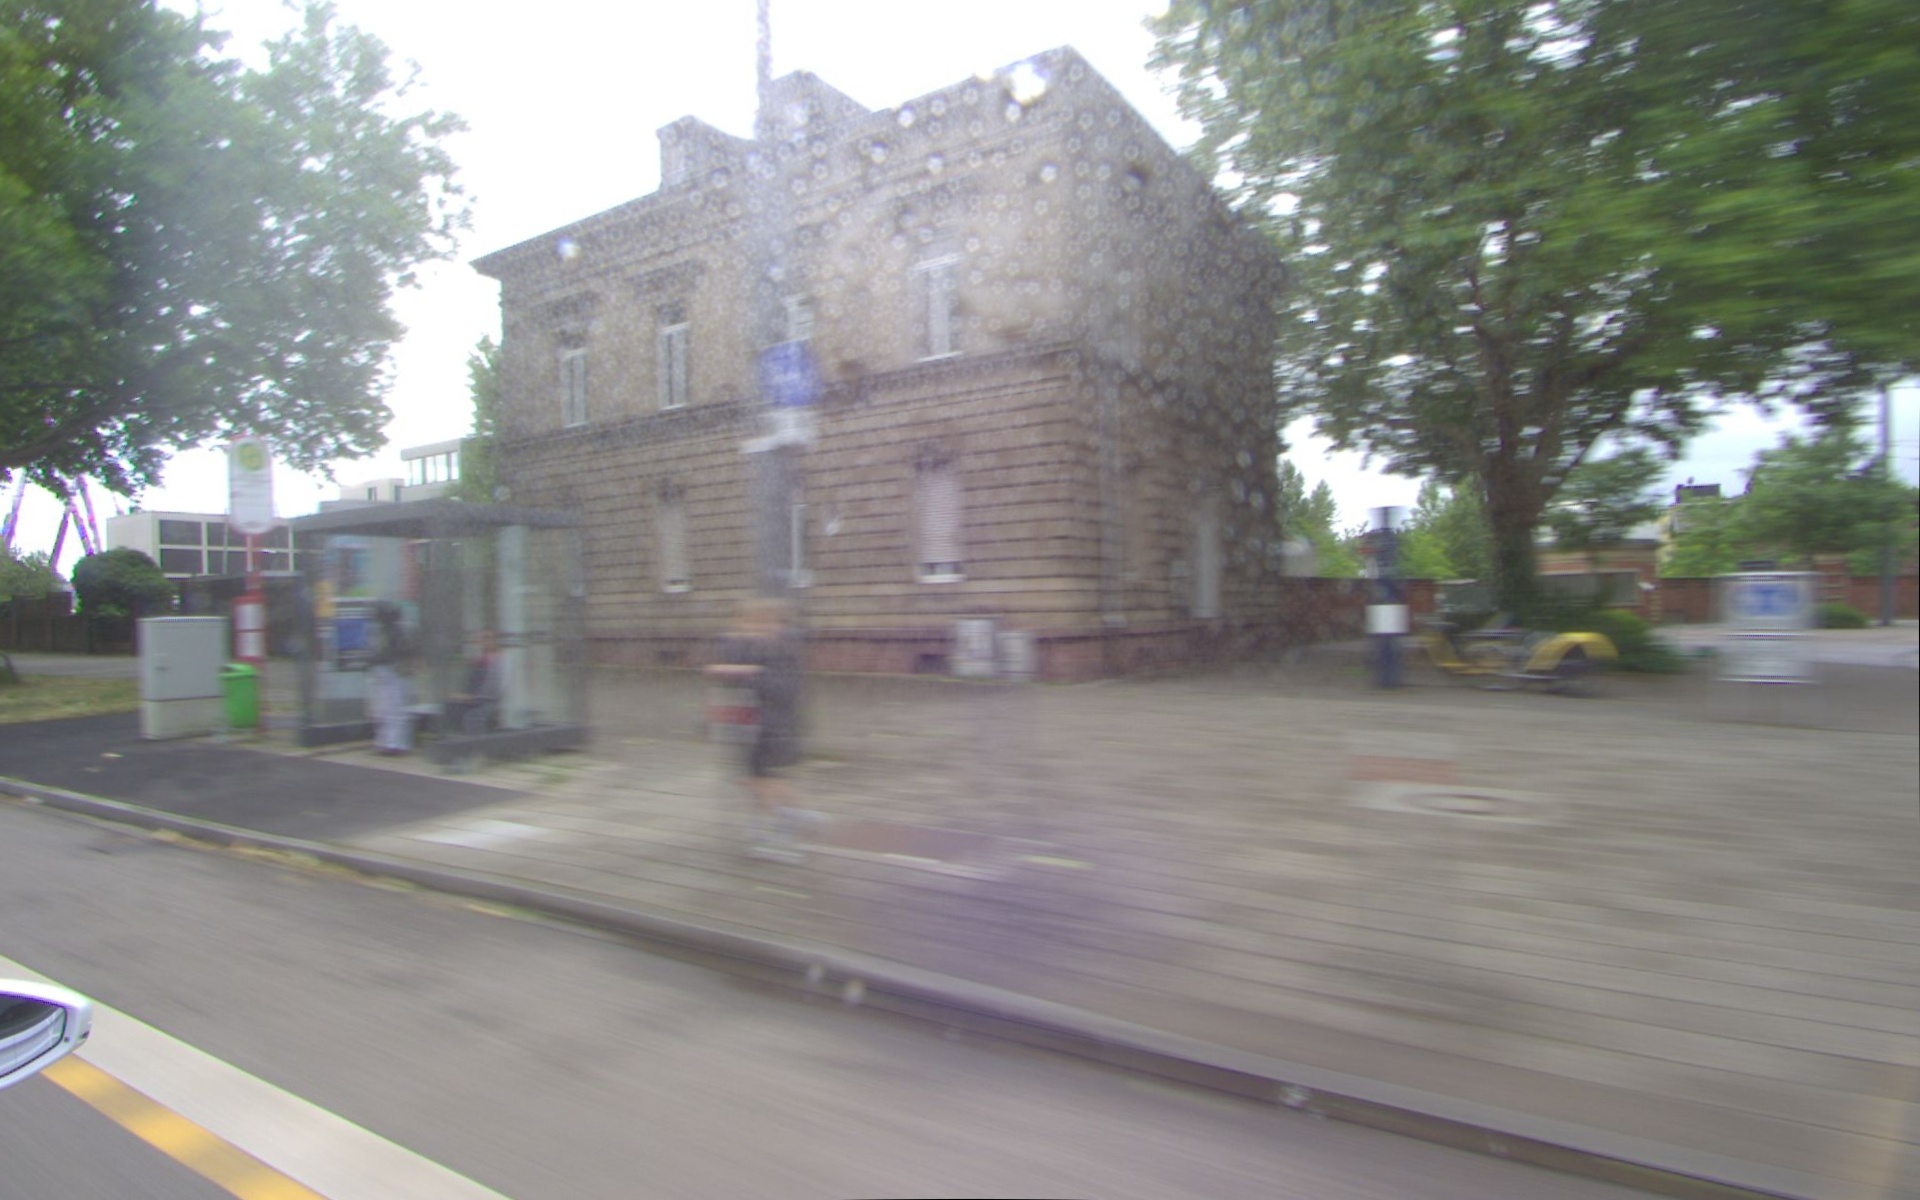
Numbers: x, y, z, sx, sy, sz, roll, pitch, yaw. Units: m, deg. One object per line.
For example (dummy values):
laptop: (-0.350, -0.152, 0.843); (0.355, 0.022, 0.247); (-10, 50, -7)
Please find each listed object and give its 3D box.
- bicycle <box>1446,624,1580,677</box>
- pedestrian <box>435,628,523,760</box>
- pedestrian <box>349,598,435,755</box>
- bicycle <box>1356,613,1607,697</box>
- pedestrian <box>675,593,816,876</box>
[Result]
bicycle: (9.786, 0.877, 17.765); (2.051, 0.883, 0.608); (-1, 0, 32)
pedestrian: (-4.794, 0.919, 9.984); (0.692, 1.250, 0.475); (-1, 0, 33)
pedestrian: (-5.937, 0.780, 10.474); (0.692, 1.584, 0.475); (-1, 0, 33)
bicycle: (8.014, 0.803, 15.555); (3.356, 1.083, 0.898); (1, 1, 32)
pedestrian: (-1.273, 0.748, 5.919); (0.547, 1.548, 0.633); (-2, 0, -40)
